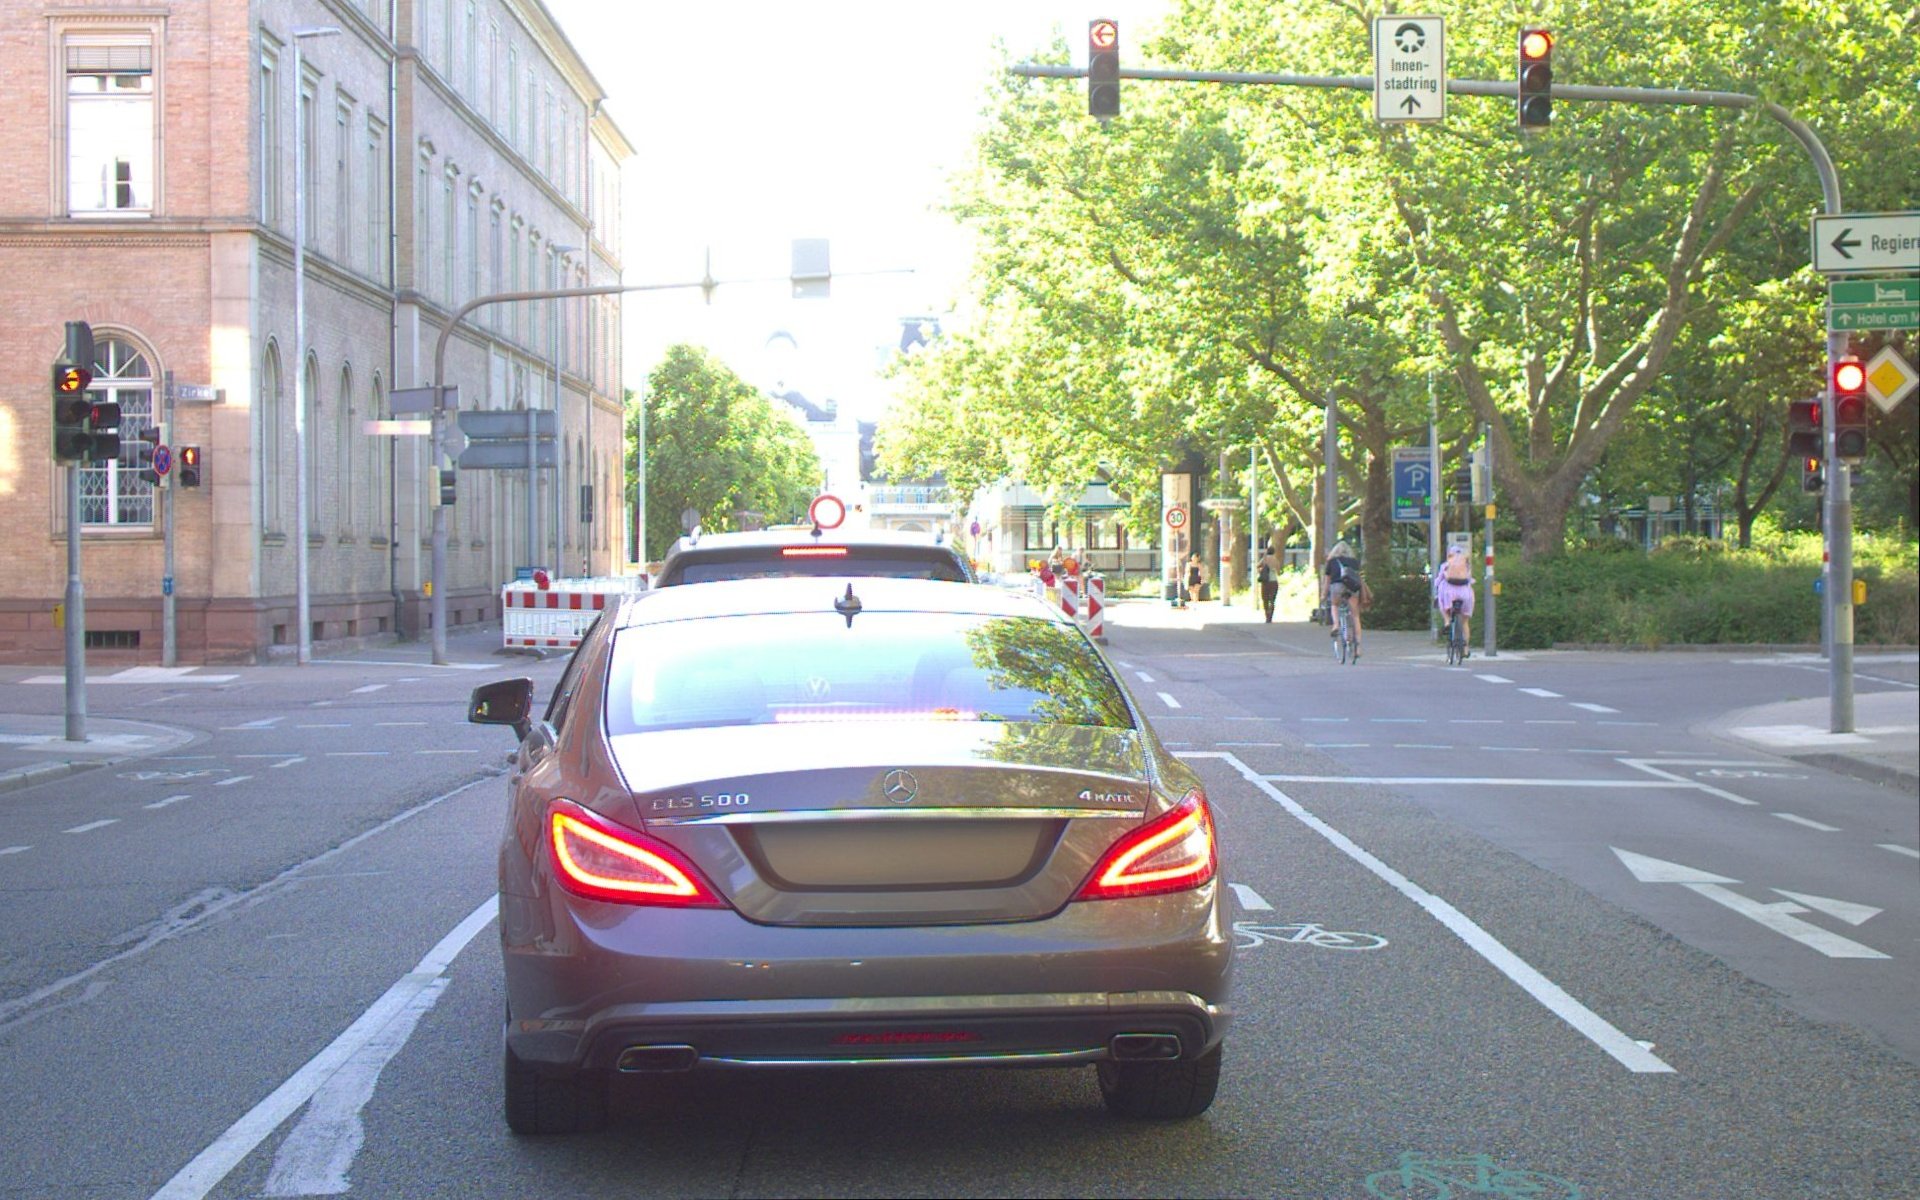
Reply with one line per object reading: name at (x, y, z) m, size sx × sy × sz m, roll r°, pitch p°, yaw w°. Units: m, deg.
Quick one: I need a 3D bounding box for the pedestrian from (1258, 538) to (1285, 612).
pedestrian at (7.021, -0.563, 77.504) m, size 0.559 × 1.672 × 0.564 m, roll 0°, pitch 1°, yaw -1°

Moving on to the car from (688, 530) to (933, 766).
car at (-1.088, 0.302, 25.523) m, size 1.681 × 1.619 × 3.841 m, roll 0°, pitch 1°, yaw -2°

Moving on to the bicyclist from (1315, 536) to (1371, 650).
bicyclist at (5.171, -0.097, 46.441) m, size 0.610 × 1.511 × 0.890 m, roll 1°, pitch 1°, yaw -1°

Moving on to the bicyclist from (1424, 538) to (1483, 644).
bicyclist at (6.649, -0.126, 46.357) m, size 0.600 × 1.397 × 0.931 m, roll 2°, pitch 1°, yaw -1°

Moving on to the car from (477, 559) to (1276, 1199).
car at (-0.455, 0.619, 9.964) m, size 1.821 × 1.471 × 4.354 m, roll 0°, pitch 1°, yaw -7°

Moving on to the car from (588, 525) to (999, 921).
car at (-0.743, 0.479, 16.025) m, size 1.681 × 1.619 × 3.841 m, roll 0°, pitch 1°, yaw -2°

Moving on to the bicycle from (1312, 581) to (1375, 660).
bicycle at (5.167, 0.266, 46.418) m, size 0.610 × 1.023 × 1.731 m, roll 1°, pitch 1°, yaw -1°

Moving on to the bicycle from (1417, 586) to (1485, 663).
bicycle at (6.627, 0.324, 46.496) m, size 0.600 × 0.981 × 1.881 m, roll 2°, pitch 1°, yaw -1°
